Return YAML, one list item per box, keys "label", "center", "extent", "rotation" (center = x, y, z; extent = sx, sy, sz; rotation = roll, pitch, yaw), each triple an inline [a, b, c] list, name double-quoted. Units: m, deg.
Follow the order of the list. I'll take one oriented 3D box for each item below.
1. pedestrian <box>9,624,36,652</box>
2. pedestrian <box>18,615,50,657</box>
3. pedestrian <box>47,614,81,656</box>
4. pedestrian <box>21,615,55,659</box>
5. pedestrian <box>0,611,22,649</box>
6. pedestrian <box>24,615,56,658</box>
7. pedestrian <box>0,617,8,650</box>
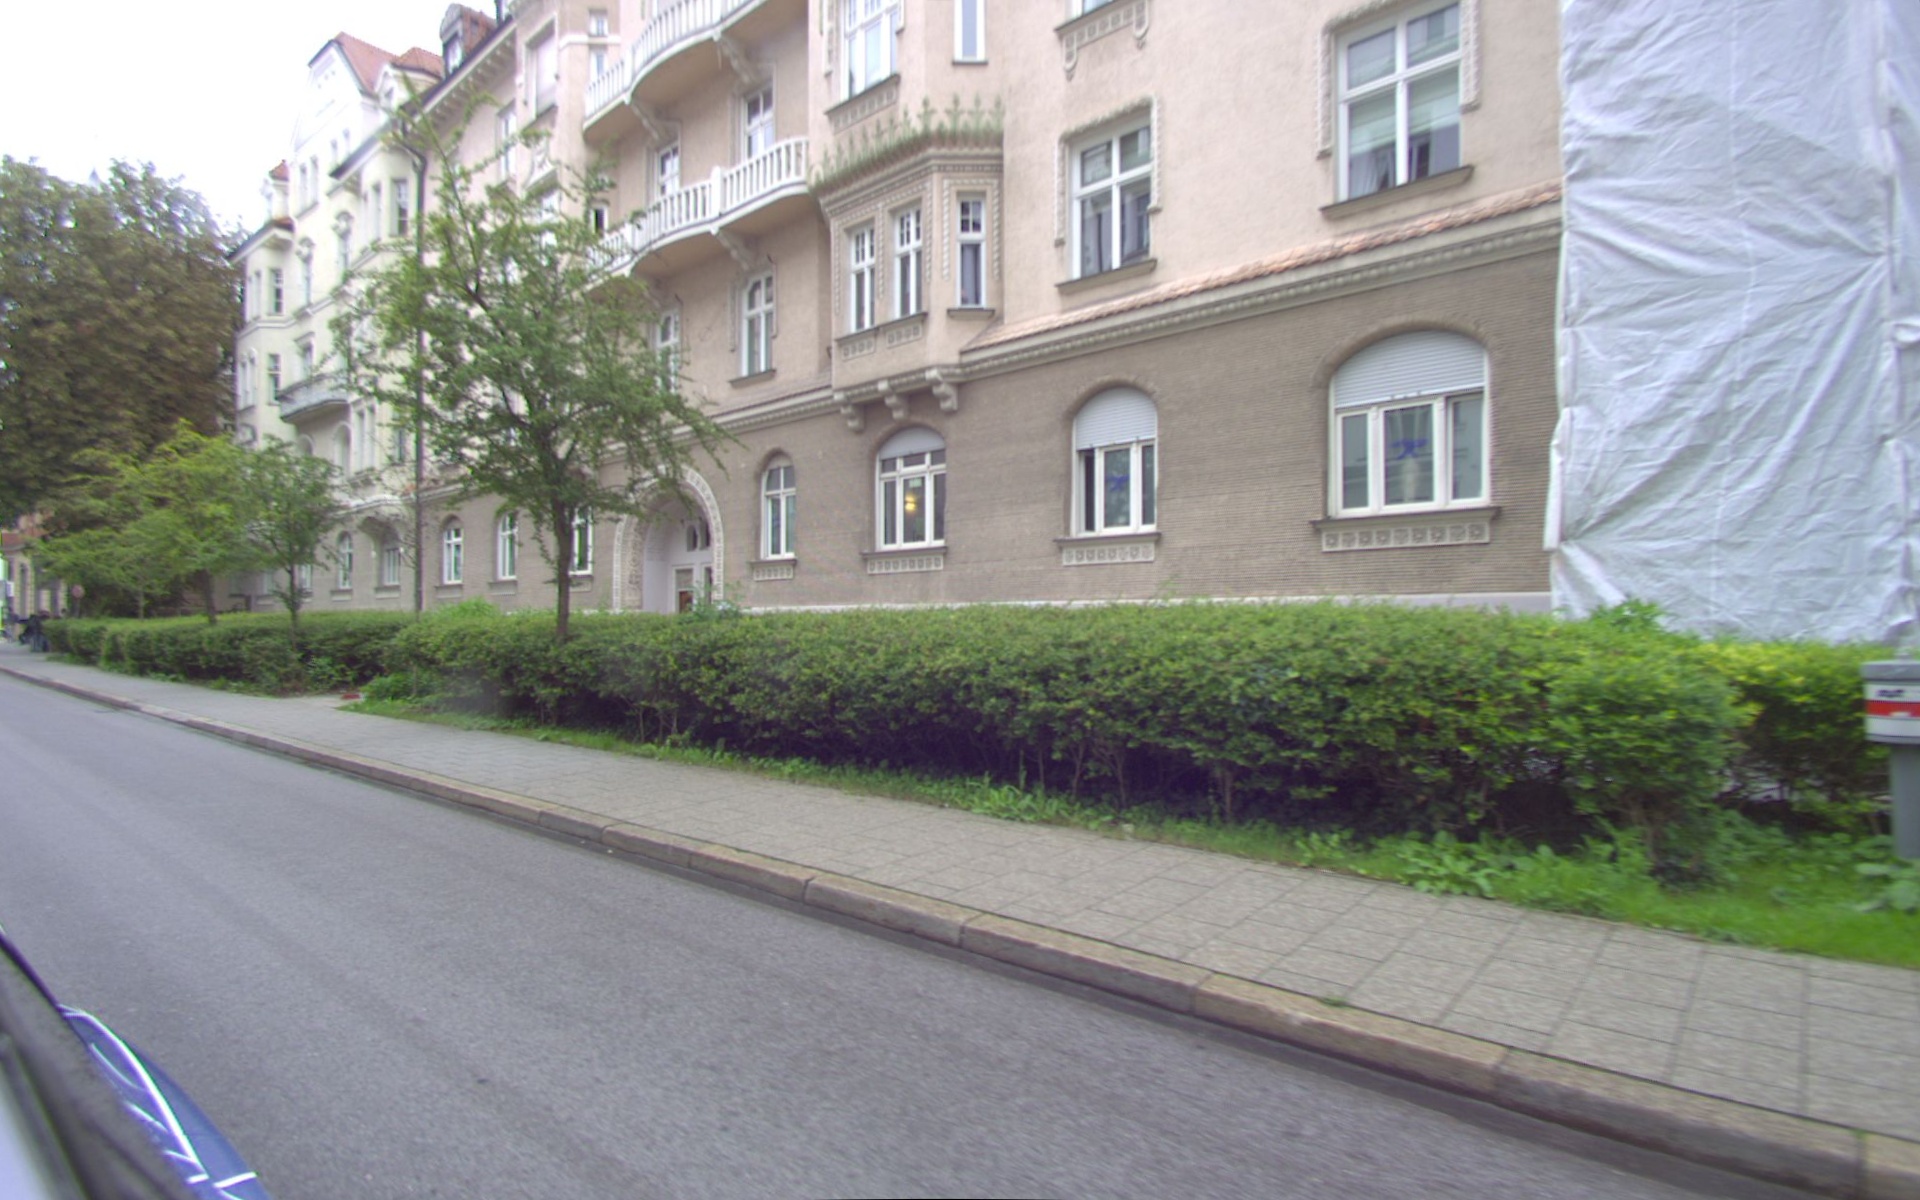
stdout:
- label: "pedestrian"
  center: [-45.353, 1.820, 48.944]
  extent: [0.753, 1.351, 0.820]
  rotation: [-1, -3, 39]
- label: "pedestrian"
  center: [-39.174, 1.533, 42.826]
  extent: [0.910, 1.758, 0.864]
  rotation: [-1, -2, 40]
- label: "pedestrian"
  center: [-38.643, 1.509, 43.656]
  extent: [0.773, 1.758, 0.878]
  rotation: [1, -2, -17]
- label: "pedestrian"
  center: [-37.914, 1.519, 41.610]
  extent: [0.846, 1.758, 0.898]
  rotation: [-1, -2, 40]
- label: "pedestrian"
  center: [-51.054, 1.593, 54.207]
  extent: [0.769, 2.029, 0.831]
  rotation: [0, -1, -2]
- label: "pedestrian"
  center: [-38.456, 1.517, 42.299]
  extent: [0.786, 1.758, 0.864]
  rotation: [-1, -2, 40]
- label: "pedestrian"
  center: [-61.129, 2.124, 64.206]
  extent: [0.938, 2.029, 1.399]
  rotation: [1, -2, -39]
